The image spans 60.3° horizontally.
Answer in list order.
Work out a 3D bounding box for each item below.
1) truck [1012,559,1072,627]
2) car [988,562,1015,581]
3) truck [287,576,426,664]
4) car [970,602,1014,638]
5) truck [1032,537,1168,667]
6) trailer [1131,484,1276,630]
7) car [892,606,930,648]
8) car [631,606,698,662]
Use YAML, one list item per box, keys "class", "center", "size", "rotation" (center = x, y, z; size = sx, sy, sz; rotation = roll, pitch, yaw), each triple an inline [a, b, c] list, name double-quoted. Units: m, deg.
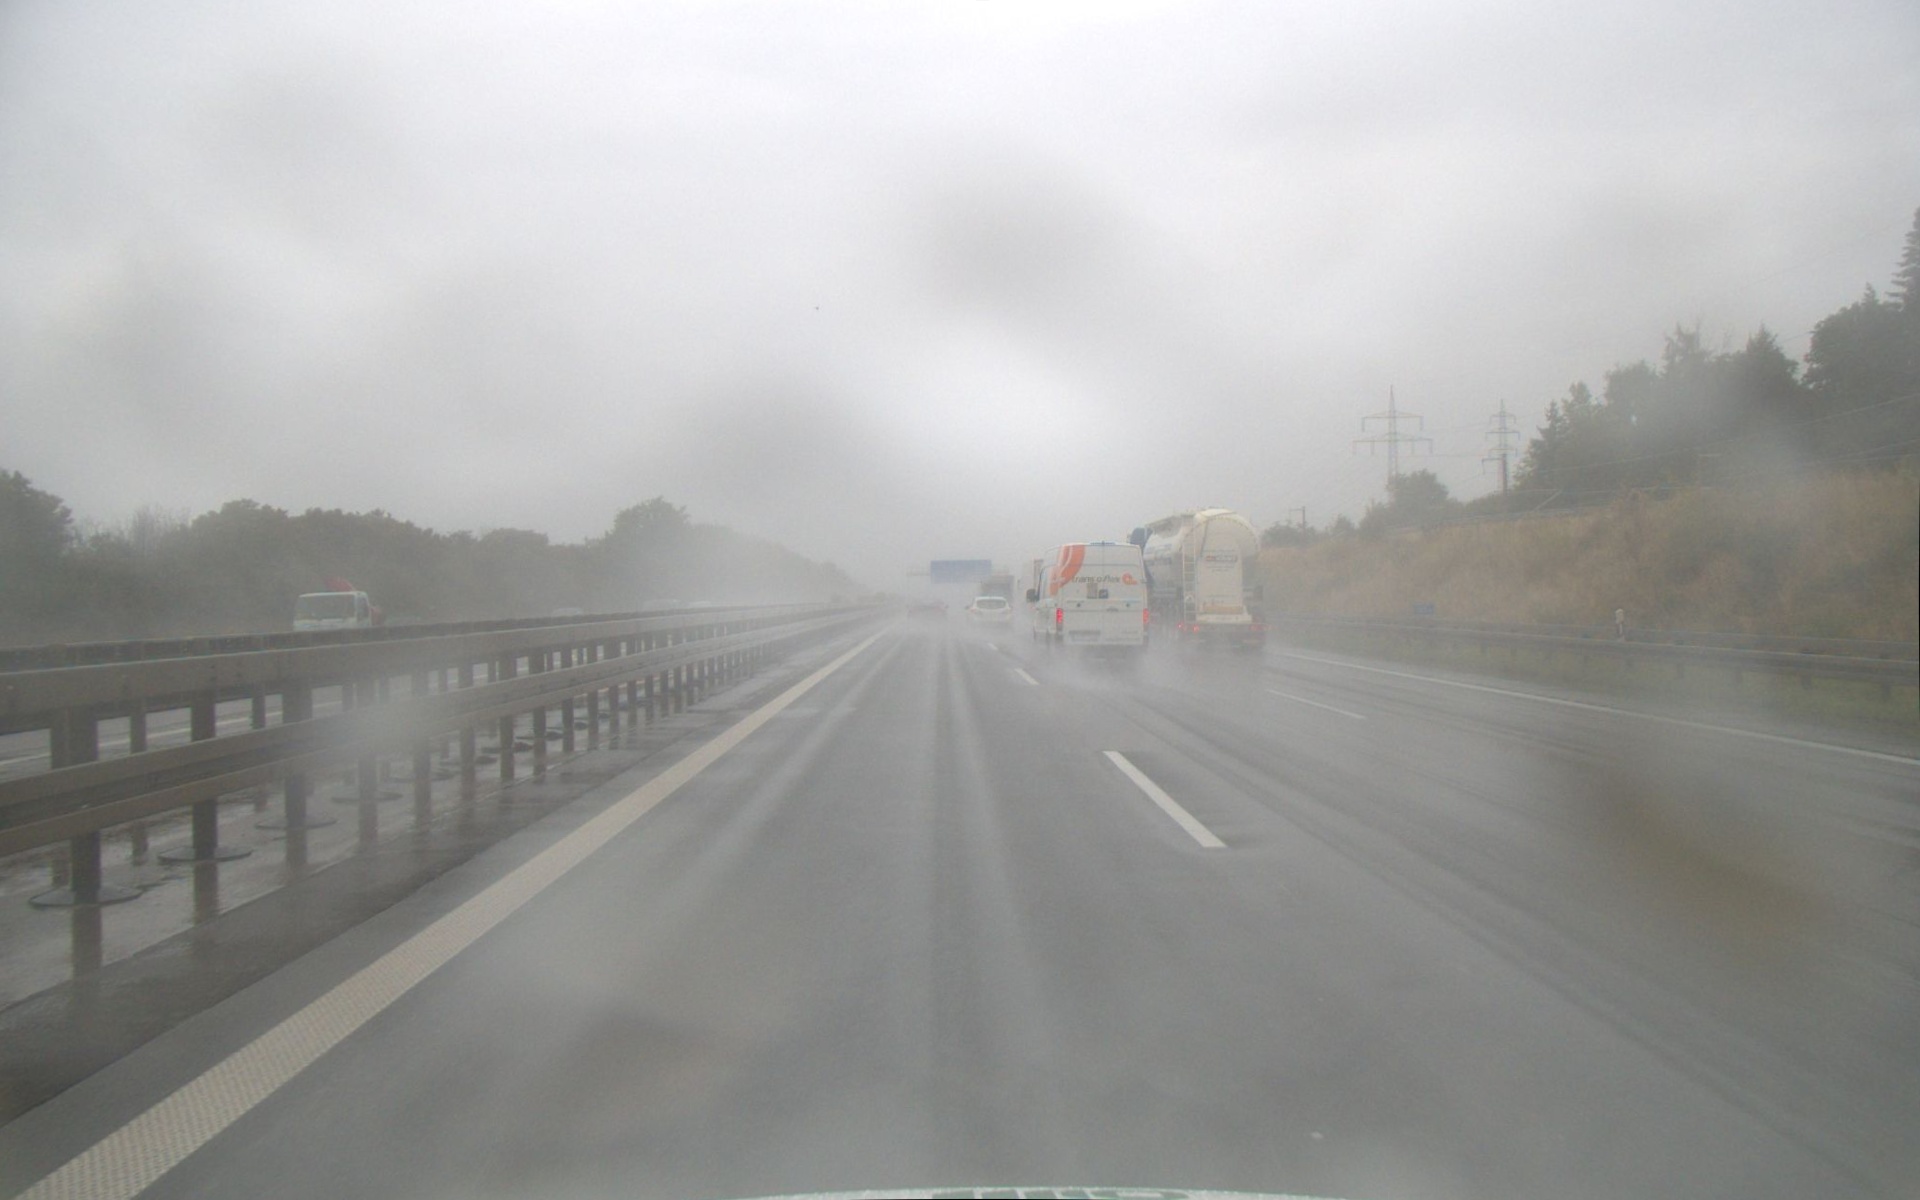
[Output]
- class: "truck"
  center: [5.877, -0.379, 121.721]
  size: [2.979, 4.668, 16.342]
  rotation: [1, -1, -2]
- class: "car"
  center: [4.535, -3.132, 182.260]
  size: [2.732, 2.049, 4.991]
  rotation: [1, 0, -1]
- class: "truck"
  center: [-19.350, 0.600, 53.355]
  size: [2.280, 2.665, 6.262]
  rotation: [1, 0, -1]
- class: "car"
  center: [1.243, 0.779, 65.441]
  size: [1.573, 1.361, 3.847]
  rotation: [1, 0, -1]
- class: "truck"
  center: [2.879, 0.030, 35.448]
  size: [2.370, 2.536, 5.559]
  rotation: [1, 0, -1]
- class: "trailer"
  center: [7.222, -1.195, 50.742]
  size: [2.447, 3.950, 11.062]
  rotation: [1, 0, -2]
- class: "car"
  center: [-2.254, 1.245, 76.724]
  size: [1.667, 1.850, 3.861]
  rotation: [1, 0, -1]
- class: "car"
  center: [-12.029, 1.356, 67.586]
  size: [1.953, 2.141, 4.765]
  rotation: [1, 0, -1]
